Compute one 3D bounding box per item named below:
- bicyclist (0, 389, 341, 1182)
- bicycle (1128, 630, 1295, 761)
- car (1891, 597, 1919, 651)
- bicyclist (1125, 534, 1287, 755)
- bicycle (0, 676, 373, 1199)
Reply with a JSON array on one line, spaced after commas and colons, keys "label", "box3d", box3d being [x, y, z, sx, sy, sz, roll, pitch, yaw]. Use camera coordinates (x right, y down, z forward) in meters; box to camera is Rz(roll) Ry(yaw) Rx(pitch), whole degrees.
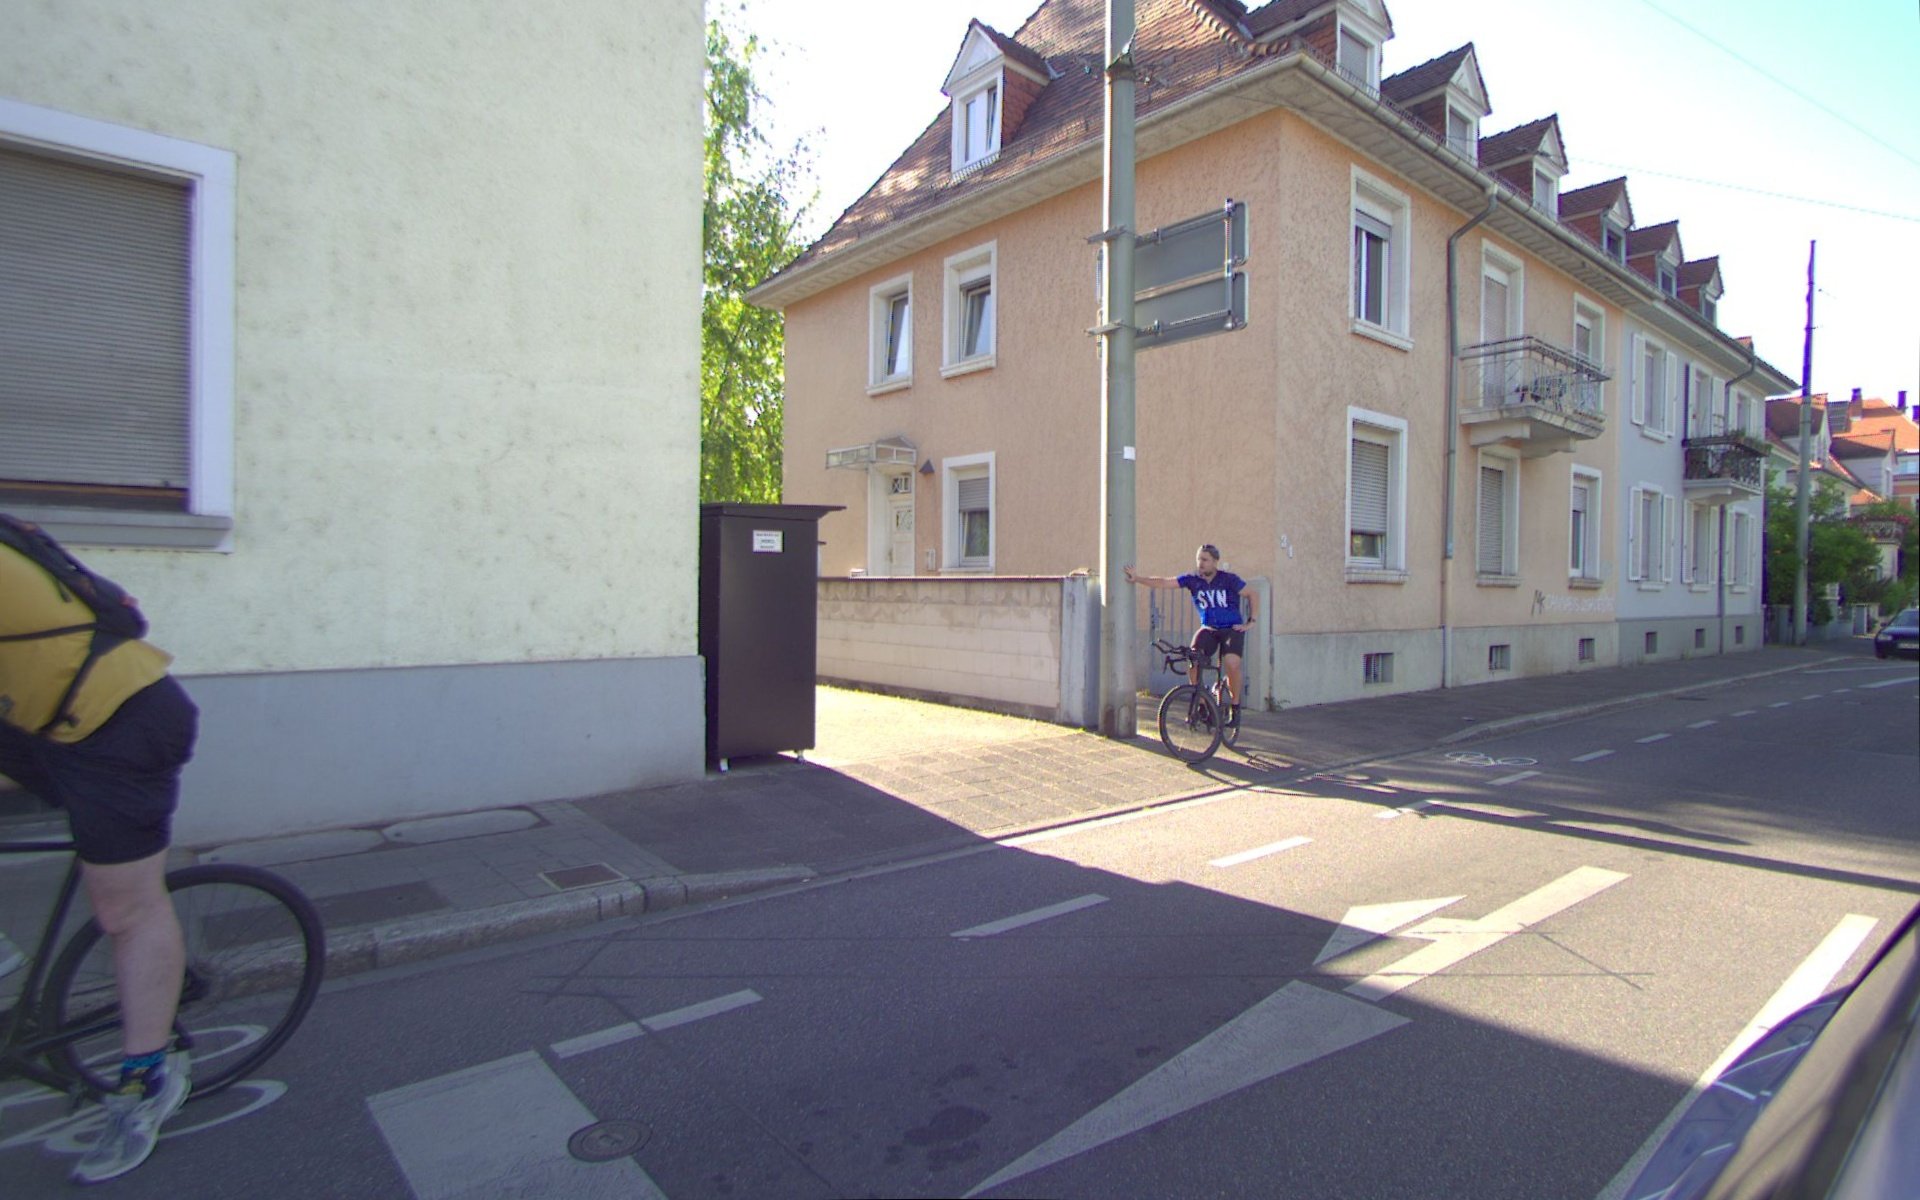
[{"label": "bicyclist", "box3d": [-2.305, 0.425, 2.702, 1.018, 1.840, 0.653, 0, 1, -41]}, {"label": "bicycle", "box3d": [2.312, 0.821, 9.212, 1.669, 1.003, 0.572, 0, 4, -41]}, {"label": "car", "box3d": [26.692, 0.631, 27.348, 3.796, 1.382, 1.648, 0, 1, -38]}, {"label": "bicyclist", "box3d": [2.279, 0.364, 9.437, 0.831, 1.887, 1.076, 0, 4, -40]}, {"label": "bicycle", "box3d": [-2.481, 0.847, 2.537, 1.669, 1.180, 0.572, 0, 1, -41]}]
